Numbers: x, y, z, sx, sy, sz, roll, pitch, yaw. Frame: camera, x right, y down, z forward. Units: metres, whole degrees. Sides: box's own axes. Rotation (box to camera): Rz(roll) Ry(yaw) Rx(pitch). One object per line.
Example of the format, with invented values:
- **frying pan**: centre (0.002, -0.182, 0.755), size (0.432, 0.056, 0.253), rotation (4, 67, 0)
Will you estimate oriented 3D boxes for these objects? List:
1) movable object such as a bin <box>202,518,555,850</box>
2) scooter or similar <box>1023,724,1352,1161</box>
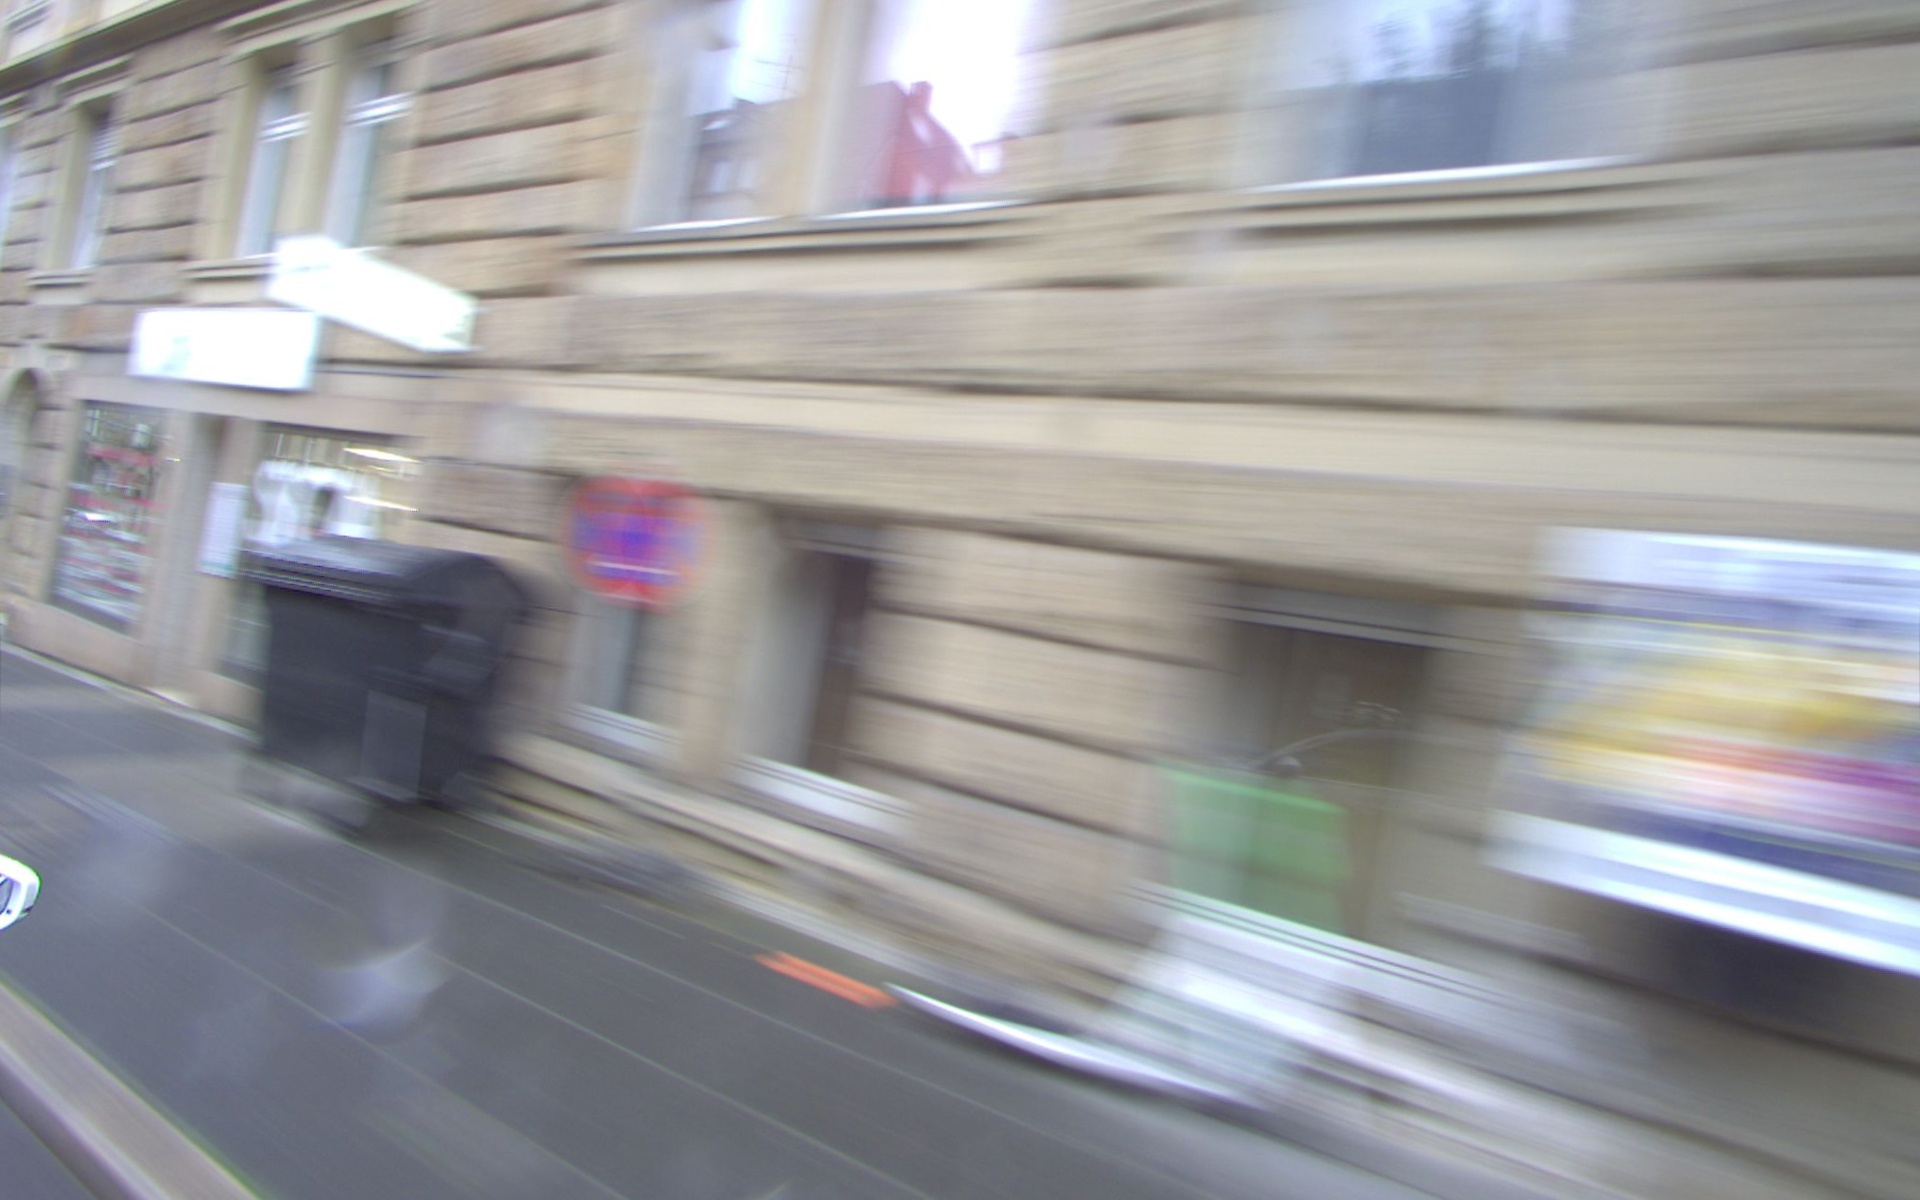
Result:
- **movable object such as a bin**: centre (-3.138, 0.398, 5.449), size (1.370, 1.469, 1.010), rotation (7, 0, 31)
- **scooter or similar**: centre (0.697, 1.012, 3.138), size (0.875, 1.125, 0.209), rotation (6, 0, 22)
